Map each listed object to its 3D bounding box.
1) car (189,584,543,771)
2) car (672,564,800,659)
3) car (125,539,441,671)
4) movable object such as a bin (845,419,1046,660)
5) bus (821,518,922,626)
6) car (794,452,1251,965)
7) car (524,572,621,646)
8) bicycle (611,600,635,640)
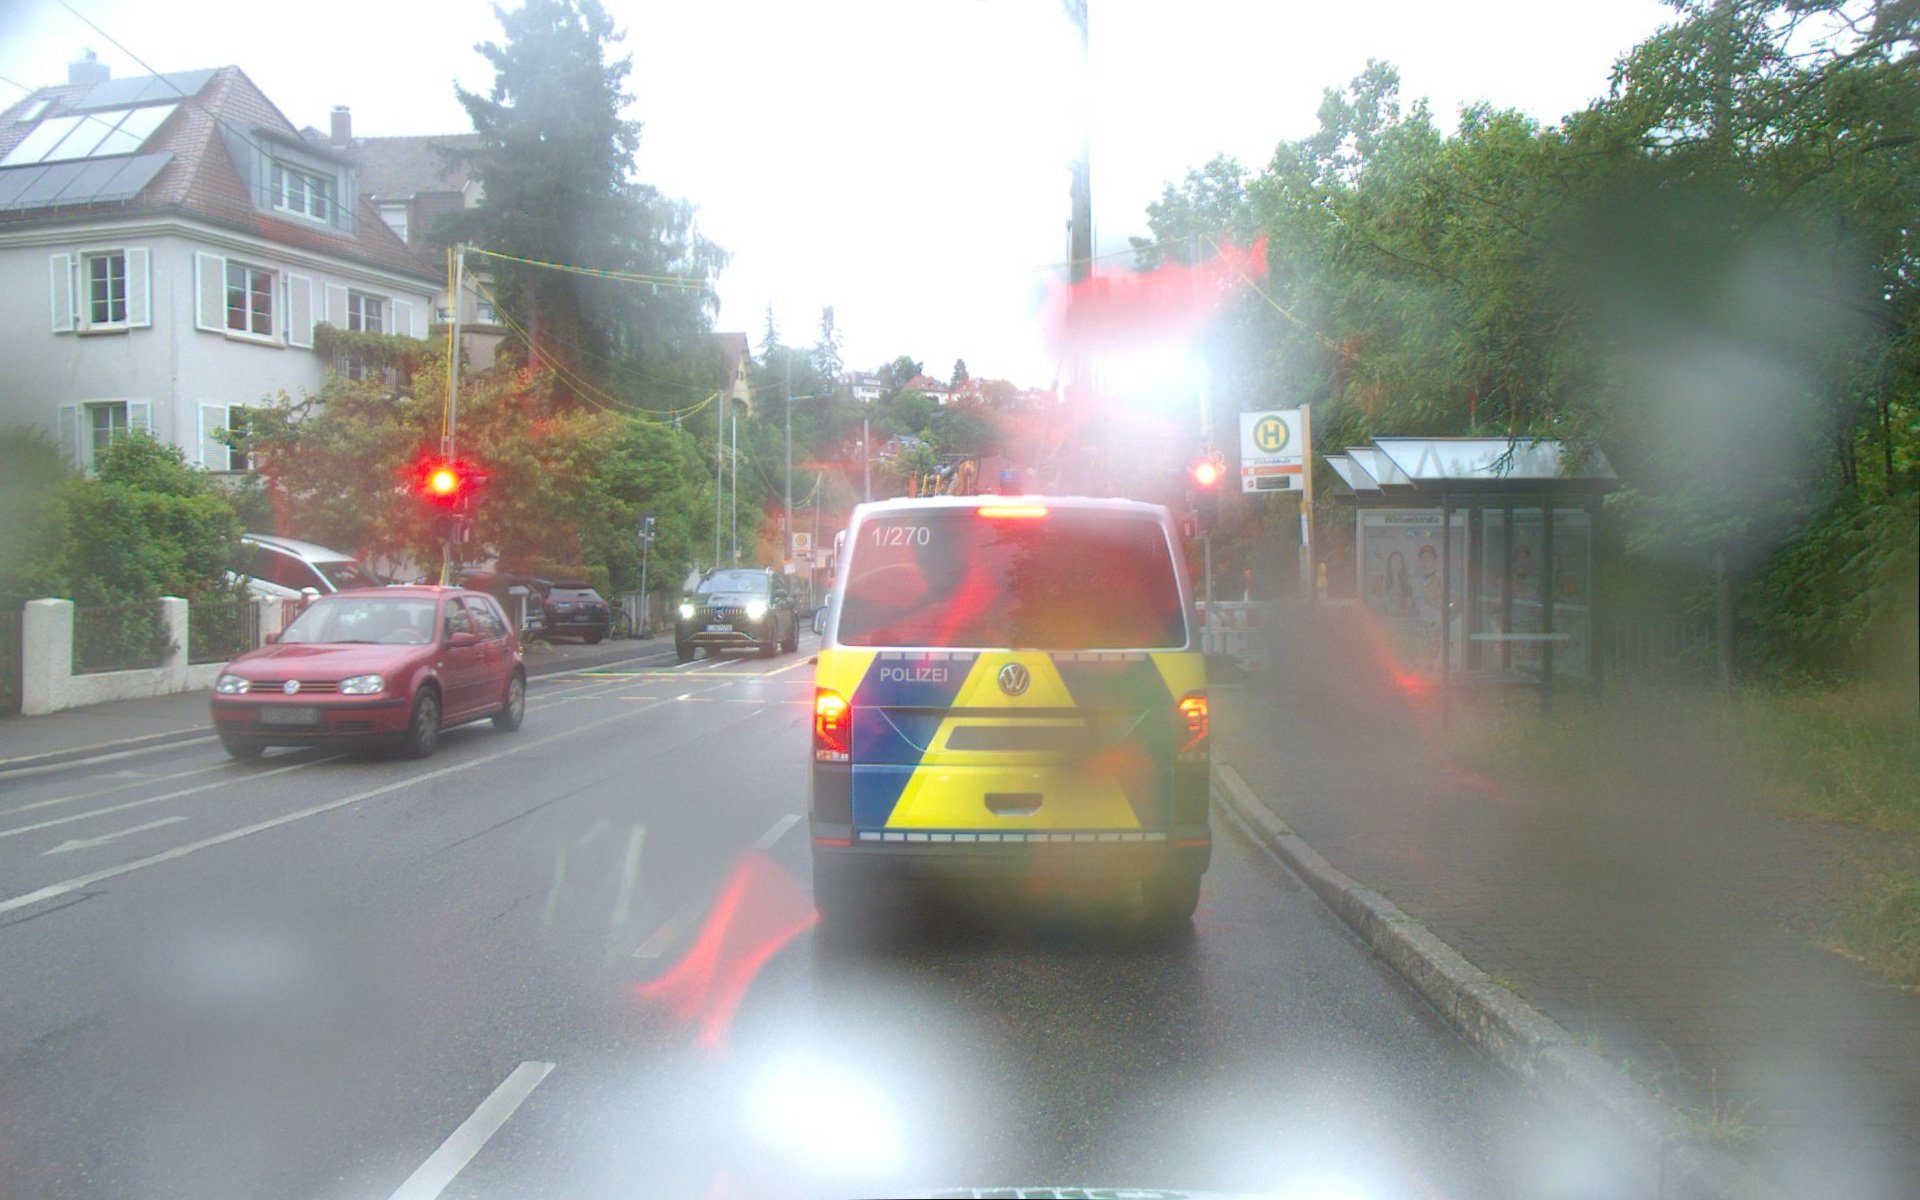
[{"bbox_3d":[-5.247,0.601,15.184,1.727,1.488,3.887,0,1,2],"label":"car"},{"bbox_3d":[-4.527,0.193,34.077,1.938,1.778,4.554,1,1,0],"label":"car"},{"bbox_3d":[-11.203,0.058,27.497,4.532,2.042,1.902,1,0,11],"label":"car"},{"bbox_3d":[-0.160,-1.096,31.645,2.770,4.250,4.384,1,0,14],"label":"movable object such as a bin"},{"bbox_3d":[-3.273,-1.022,64.591,2.782,3.783,12.009,1,0,2],"label":"bus"},{"bbox_3d":[0.233,0.437,8.827,1.855,2.086,3.999,1,0,-1],"label":"car"},{"bbox_3d":[-8.904,0.175,37.835,1.739,1.512,3.721,1,2,-20],"label":"car"},{"bbox_3d":[-8.047,0.465,39.461,0.455,0.913,1.628,0,0,-15],"label":"bicycle"}]
